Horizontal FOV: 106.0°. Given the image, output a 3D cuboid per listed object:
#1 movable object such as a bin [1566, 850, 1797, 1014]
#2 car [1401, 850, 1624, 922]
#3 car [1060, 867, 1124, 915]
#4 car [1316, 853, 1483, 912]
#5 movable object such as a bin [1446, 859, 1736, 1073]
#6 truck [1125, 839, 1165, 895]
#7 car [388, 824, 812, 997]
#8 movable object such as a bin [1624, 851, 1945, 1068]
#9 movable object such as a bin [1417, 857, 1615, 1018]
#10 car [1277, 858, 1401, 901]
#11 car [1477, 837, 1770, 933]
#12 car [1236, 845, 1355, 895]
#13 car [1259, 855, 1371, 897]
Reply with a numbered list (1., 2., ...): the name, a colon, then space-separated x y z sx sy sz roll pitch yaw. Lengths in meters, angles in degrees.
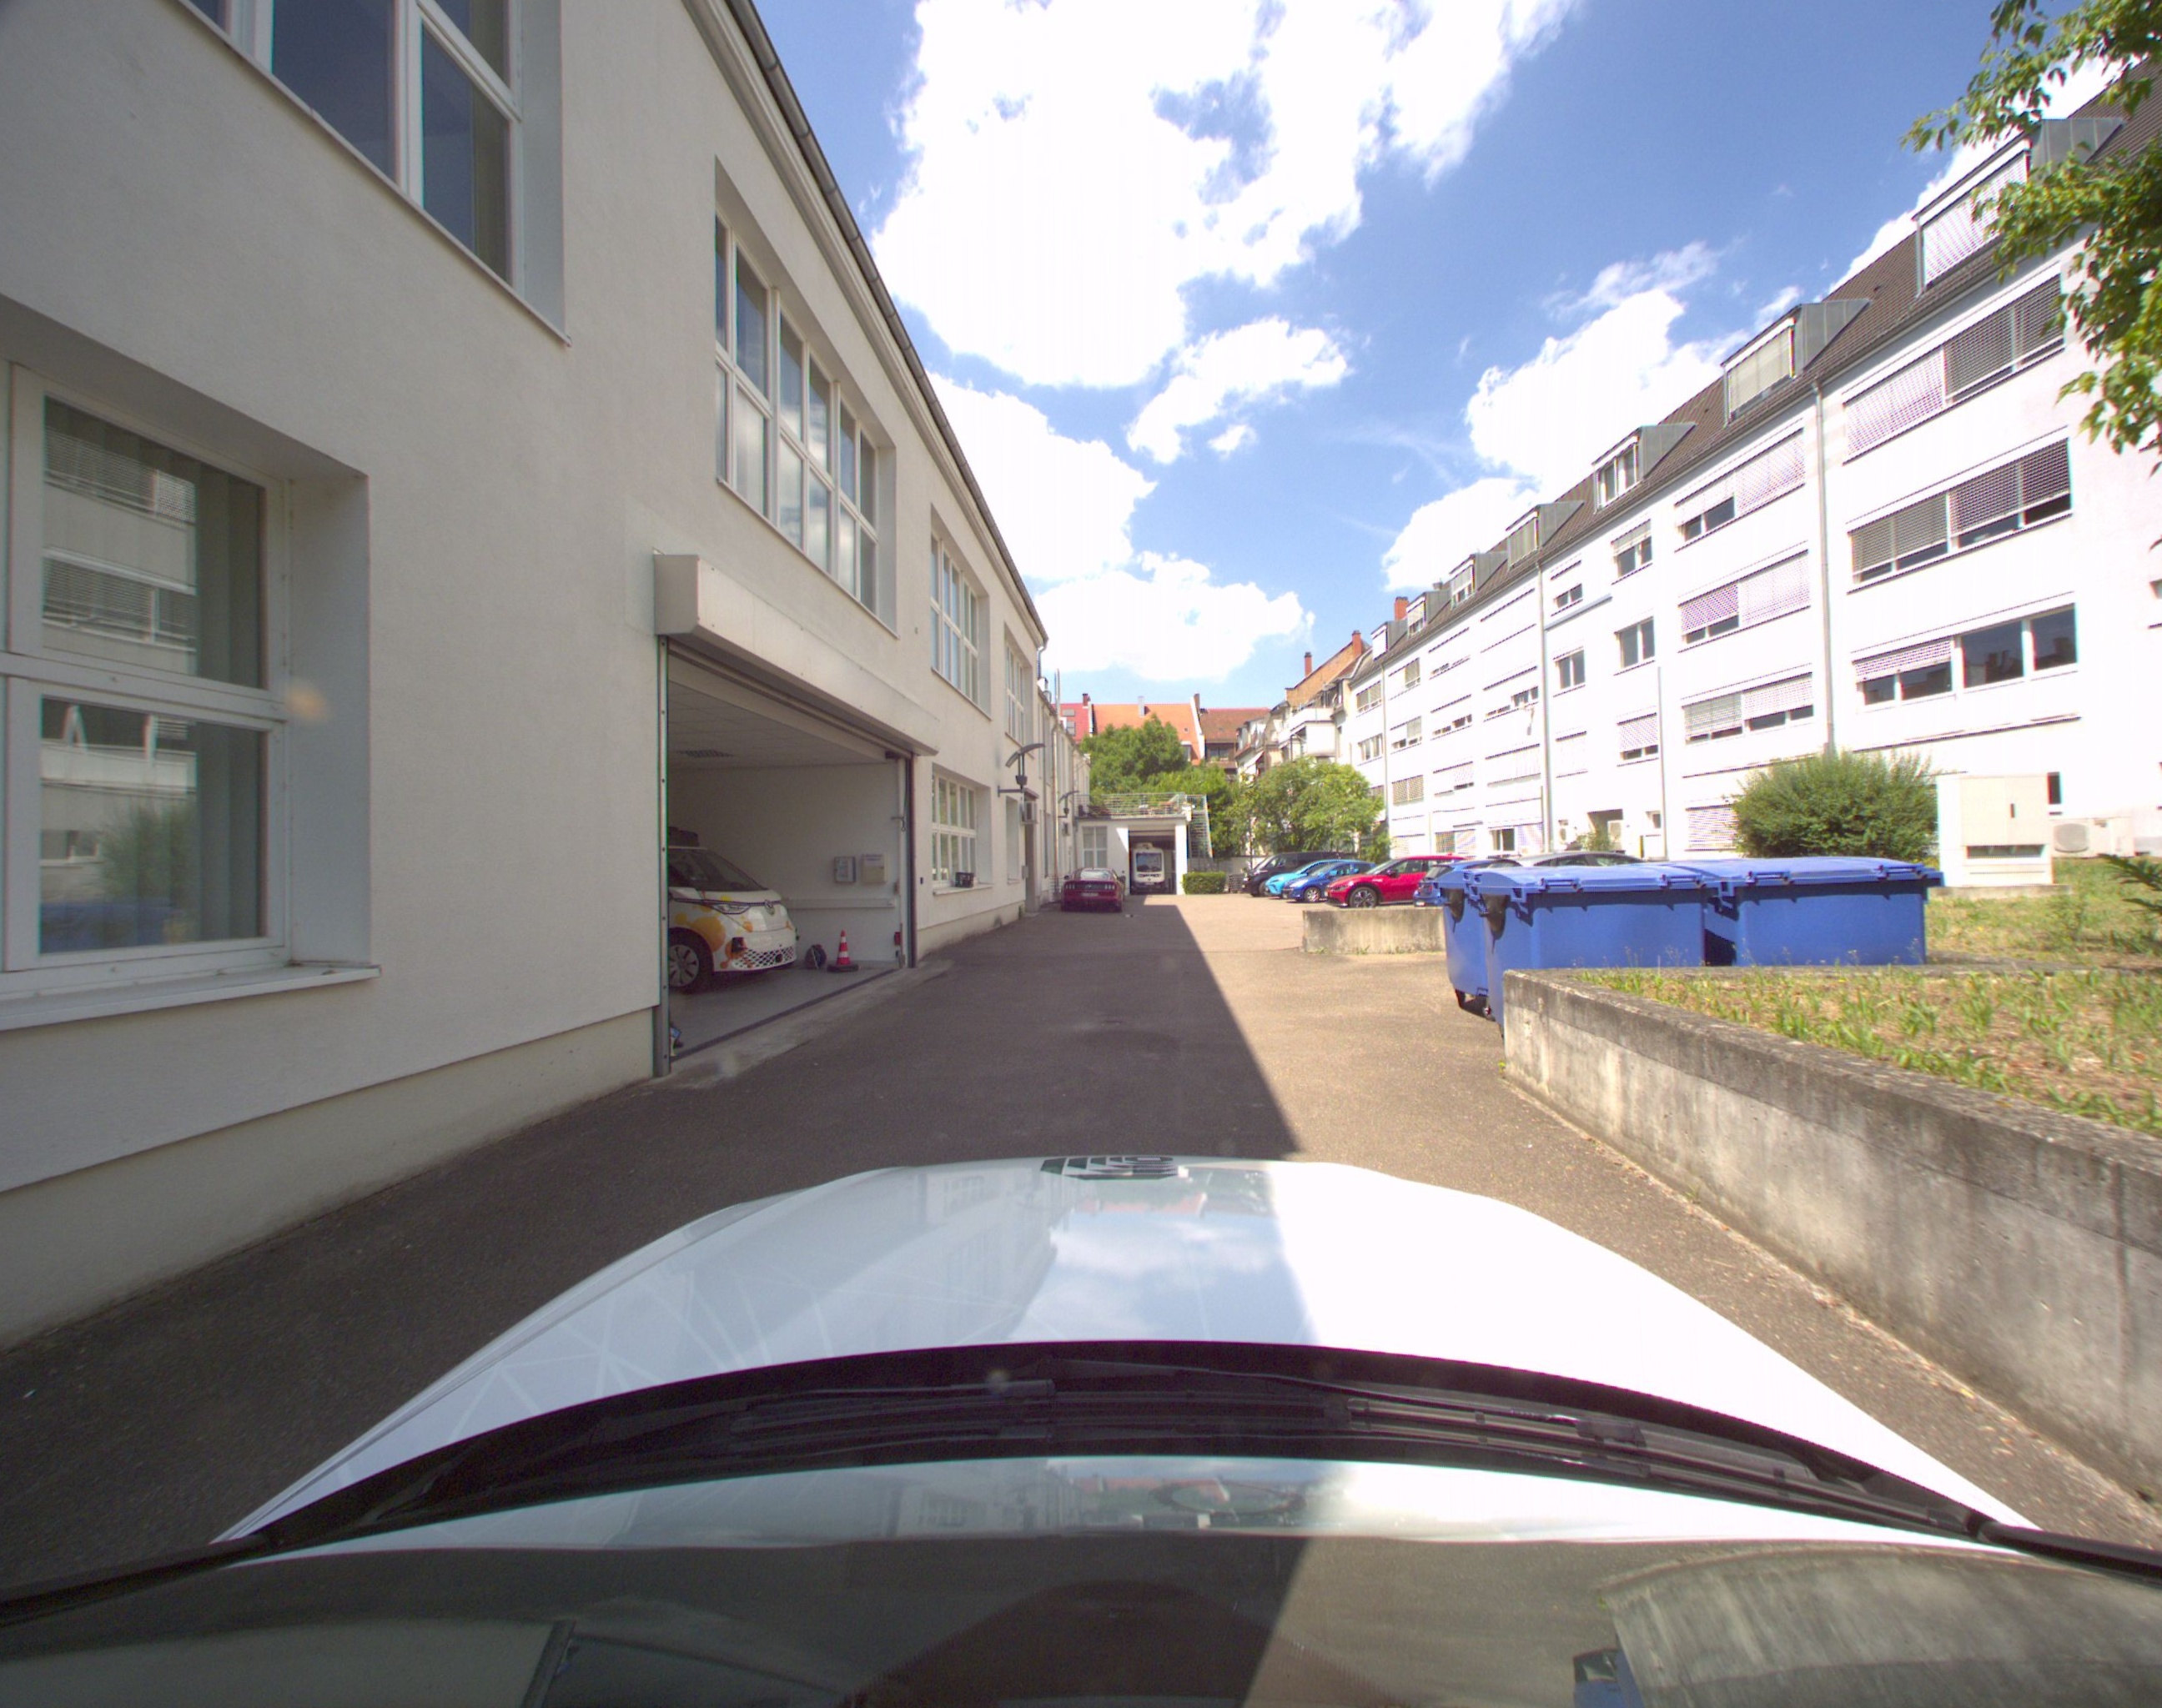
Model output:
1. movable object such as a bin: 5.338 0.659 7.360 1.211 1.327 1.161 -2 -1 3
2. car: 9.446 0.682 18.099 3.970 1.390 1.806 -2 -1 3
3. car: 0.423 1.142 26.301 1.790 1.390 4.004 -1 -1 4
4. car: 8.875 0.785 22.953 3.970 1.478 1.806 -2 -1 3
5. movable object such as a bin: 3.471 0.721 5.734 1.331 1.327 1.163 -2 -1 7
6. truck: 3.496 0.724 45.162 1.782 2.937 4.652 -1 -1 0
7. car: -6.127 0.693 10.733 4.457 2.025 1.984 -1 -1 5
8. movable object such as a bin: 4.758 0.669 5.656 1.209 1.327 1.163 -2 -1 7
9. movable object such as a bin: 3.913 0.716 7.471 1.187 1.327 1.161 -2 -1 3
10. car: 9.294 0.917 29.588 3.970 1.390 1.806 -2 -1 3
11. car: 9.514 0.535 14.561 3.970 1.478 1.806 -2 -1 3
12. car: 9.312 0.679 35.638 4.658 1.958 2.078 -2 -1 3
13. car: 9.298 0.866 32.582 3.970 1.534 1.806 -2 -1 3
